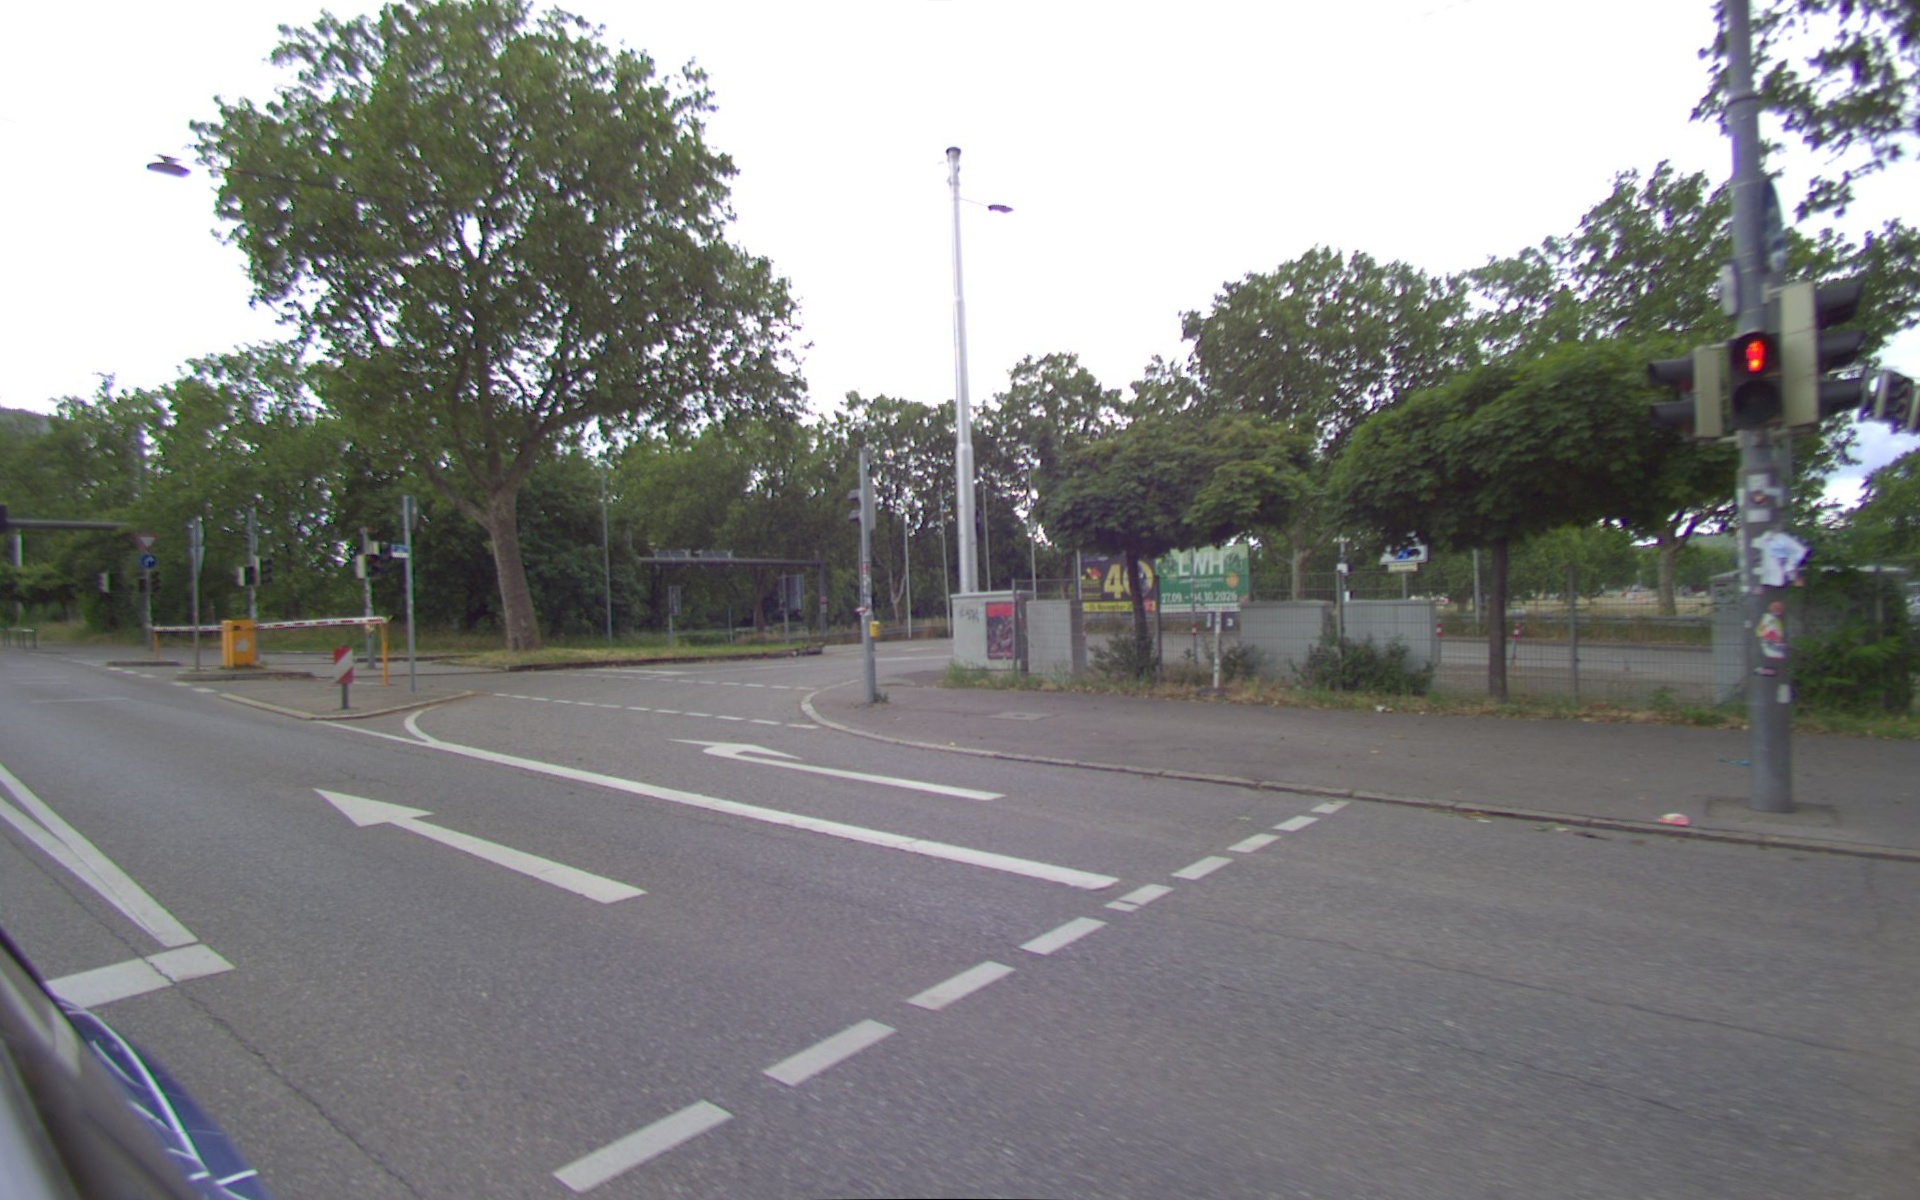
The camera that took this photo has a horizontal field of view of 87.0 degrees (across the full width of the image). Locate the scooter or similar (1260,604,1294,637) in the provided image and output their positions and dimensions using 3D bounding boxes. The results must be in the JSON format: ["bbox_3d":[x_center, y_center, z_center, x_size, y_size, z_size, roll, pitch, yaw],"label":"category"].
[{"bbox_3d":[12.329,0.799,39.391,0.409,1.230,1.222,-2,0,-38],"label":"scooter or similar"}]

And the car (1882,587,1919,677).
[{"bbox_3d":[22.121,0.658,20.629,1.856,1.849,4.603,-3,1,-36],"label":"car"}]
